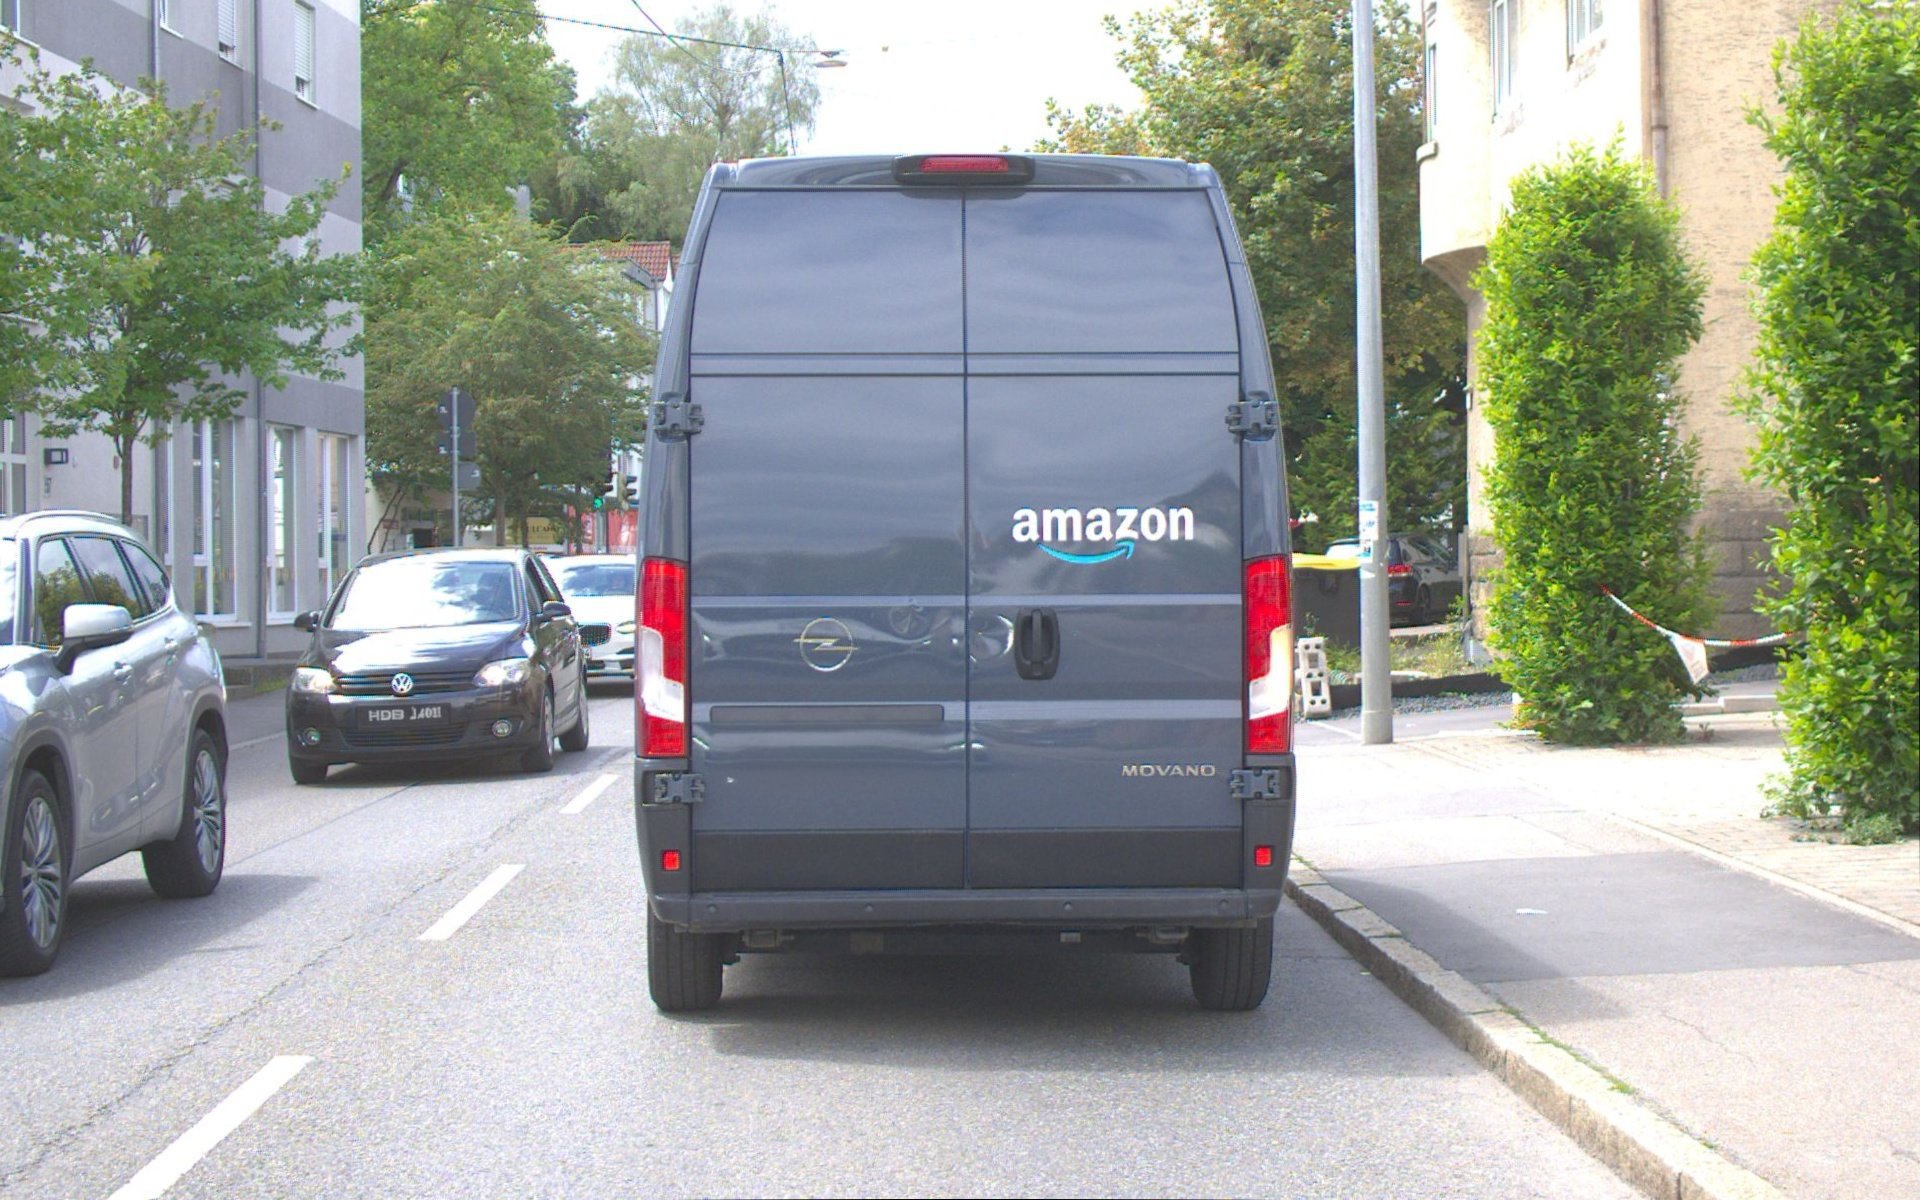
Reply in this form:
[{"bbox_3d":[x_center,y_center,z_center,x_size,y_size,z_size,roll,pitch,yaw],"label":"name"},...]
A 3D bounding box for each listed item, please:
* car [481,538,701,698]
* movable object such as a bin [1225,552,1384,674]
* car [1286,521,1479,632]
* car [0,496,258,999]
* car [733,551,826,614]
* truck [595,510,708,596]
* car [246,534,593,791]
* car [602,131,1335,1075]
[{"bbox_3d":[-3.998,0.145,37.966,1.897,1.554,4.801,-3,1,-1],"label":"car"},{"bbox_3d":[3.642,0.120,36.382,1.182,1.261,1.210,-1,1,-30],"label":"movable object such as a bin"},{"bbox_3d":[6.747,-0.396,54.558,1.754,1.512,4.074,-4,1,25],"label":"car"},{"bbox_3d":[-4.343,0.530,13.845,1.986,1.731,4.796,-3,1,0],"label":"car"},{"bbox_3d":[-4.169,-0.428,79.841,1.874,1.419,4.115,0,1,1],"label":"car"},{"bbox_3d":[-8.792,-1.336,98.568,2.225,2.372,6.325,0,0,4],"label":"truck"},{"bbox_3d":[-3.684,0.369,24.094,1.832,1.579,4.038,-2,1,-1],"label":"car"},{"bbox_3d":[-0.096,-0.042,13.216,2.147,2.761,6.250,0,1,-2],"label":"car"}]
